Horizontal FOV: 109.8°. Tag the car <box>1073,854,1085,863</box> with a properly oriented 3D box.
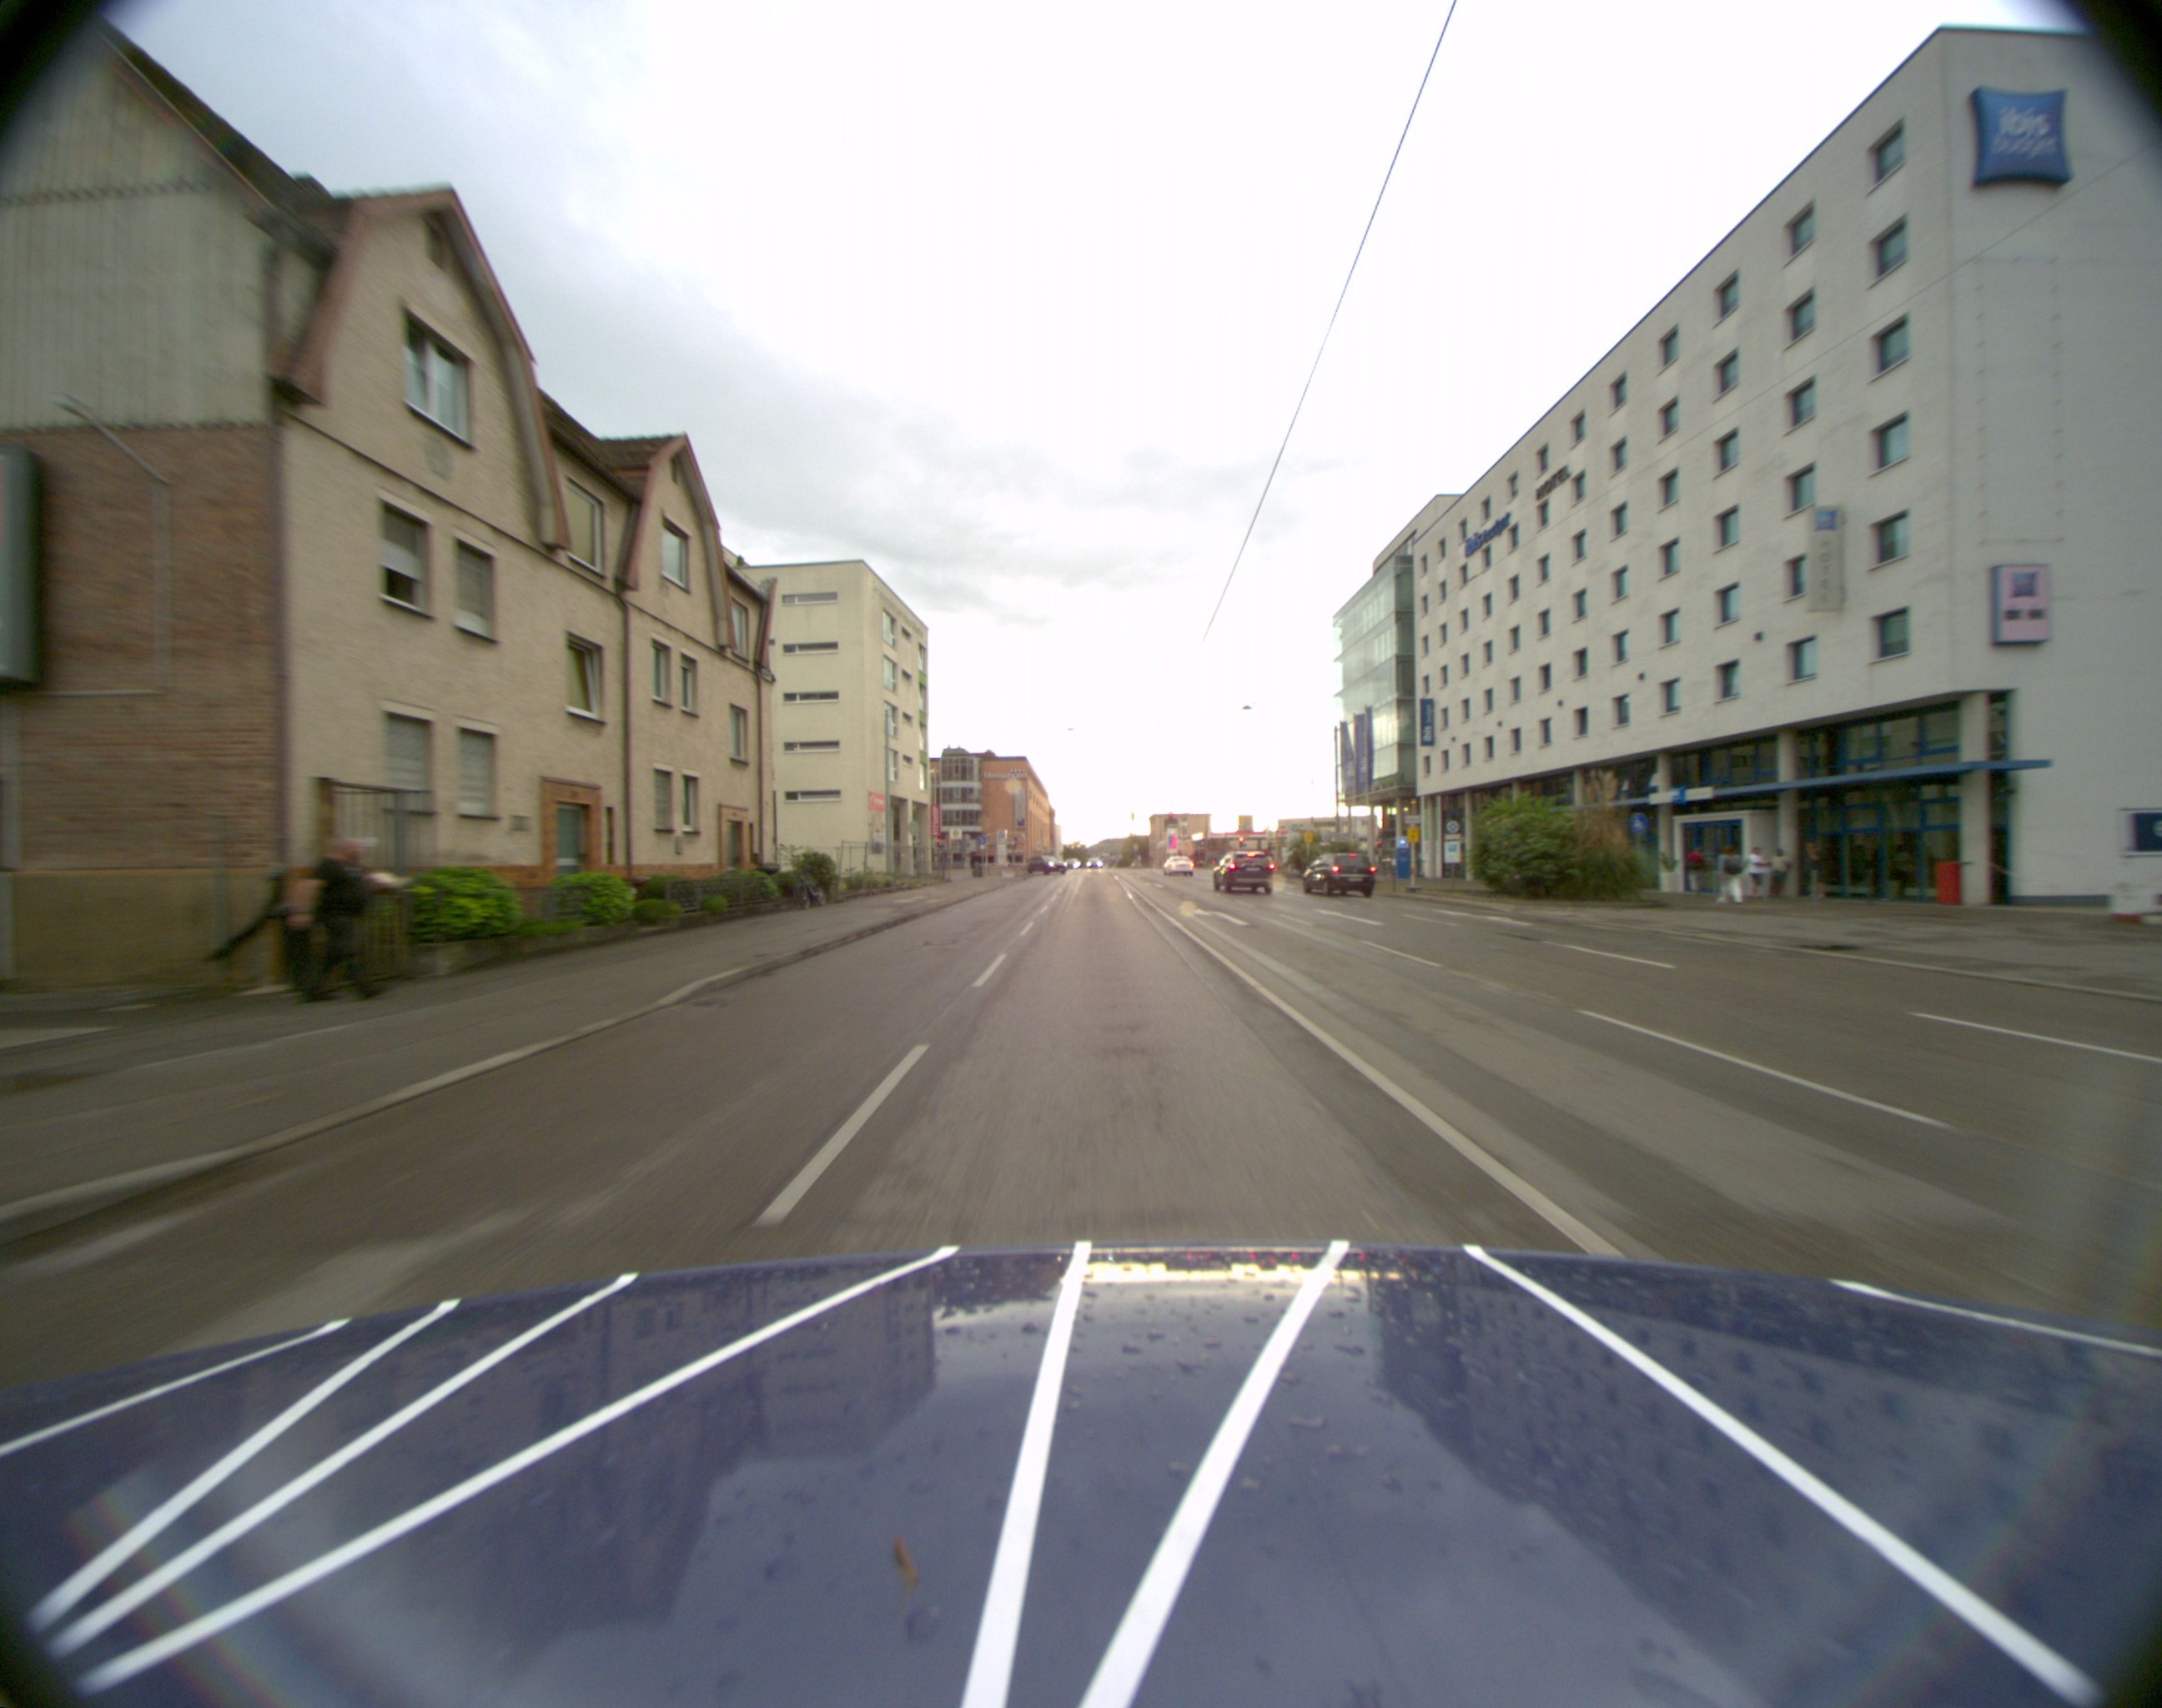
[{"bbox_3d":[-0.261,0.677,122.073,1.696,1.392,4.089,-2,1,3],"label":"car"}]

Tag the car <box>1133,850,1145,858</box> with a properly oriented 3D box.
[{"bbox_3d":[11.863,-0.032,155.829,1.913,1.622,4.209,-1,1,-3],"label":"car"}]

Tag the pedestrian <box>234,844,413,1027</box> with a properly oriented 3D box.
[{"bbox_3d":[-7.884,0.802,7.968,0.914,1.754,0.766,-4,3,-10],"label":"pedestrian"}]

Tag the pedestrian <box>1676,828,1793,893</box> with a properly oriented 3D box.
[{"bbox_3d":[18.371,0.181,21.456,1.996,1.710,1.698,-2,0,20],"label":"pedestrian"}]

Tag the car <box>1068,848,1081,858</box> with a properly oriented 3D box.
[{"bbox_3d":[-0.961,-0.170,107.784,1.649,1.313,4.000,-2,1,1],"label":"car"}]

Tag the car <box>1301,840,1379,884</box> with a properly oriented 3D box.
[{"bbox_3d":[10.021,0.299,29.696,1.712,1.557,4.034,1,0,1],"label":"car"}]

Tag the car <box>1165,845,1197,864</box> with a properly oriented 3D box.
[{"bbox_3d":[7.715,0.005,58.839,1.822,1.379,4.962,-1,1,0],"label":"car"}]

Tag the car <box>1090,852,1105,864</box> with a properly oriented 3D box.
[{"bbox_3d":[2.318,0.579,108.802,1.964,1.516,4.262,-2,0,1],"label":"car"}]

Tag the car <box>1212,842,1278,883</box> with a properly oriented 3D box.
[{"bbox_3d":[6.765,0.367,31.771,1.760,1.546,4.450,1,-1,0],"label":"car"}]
